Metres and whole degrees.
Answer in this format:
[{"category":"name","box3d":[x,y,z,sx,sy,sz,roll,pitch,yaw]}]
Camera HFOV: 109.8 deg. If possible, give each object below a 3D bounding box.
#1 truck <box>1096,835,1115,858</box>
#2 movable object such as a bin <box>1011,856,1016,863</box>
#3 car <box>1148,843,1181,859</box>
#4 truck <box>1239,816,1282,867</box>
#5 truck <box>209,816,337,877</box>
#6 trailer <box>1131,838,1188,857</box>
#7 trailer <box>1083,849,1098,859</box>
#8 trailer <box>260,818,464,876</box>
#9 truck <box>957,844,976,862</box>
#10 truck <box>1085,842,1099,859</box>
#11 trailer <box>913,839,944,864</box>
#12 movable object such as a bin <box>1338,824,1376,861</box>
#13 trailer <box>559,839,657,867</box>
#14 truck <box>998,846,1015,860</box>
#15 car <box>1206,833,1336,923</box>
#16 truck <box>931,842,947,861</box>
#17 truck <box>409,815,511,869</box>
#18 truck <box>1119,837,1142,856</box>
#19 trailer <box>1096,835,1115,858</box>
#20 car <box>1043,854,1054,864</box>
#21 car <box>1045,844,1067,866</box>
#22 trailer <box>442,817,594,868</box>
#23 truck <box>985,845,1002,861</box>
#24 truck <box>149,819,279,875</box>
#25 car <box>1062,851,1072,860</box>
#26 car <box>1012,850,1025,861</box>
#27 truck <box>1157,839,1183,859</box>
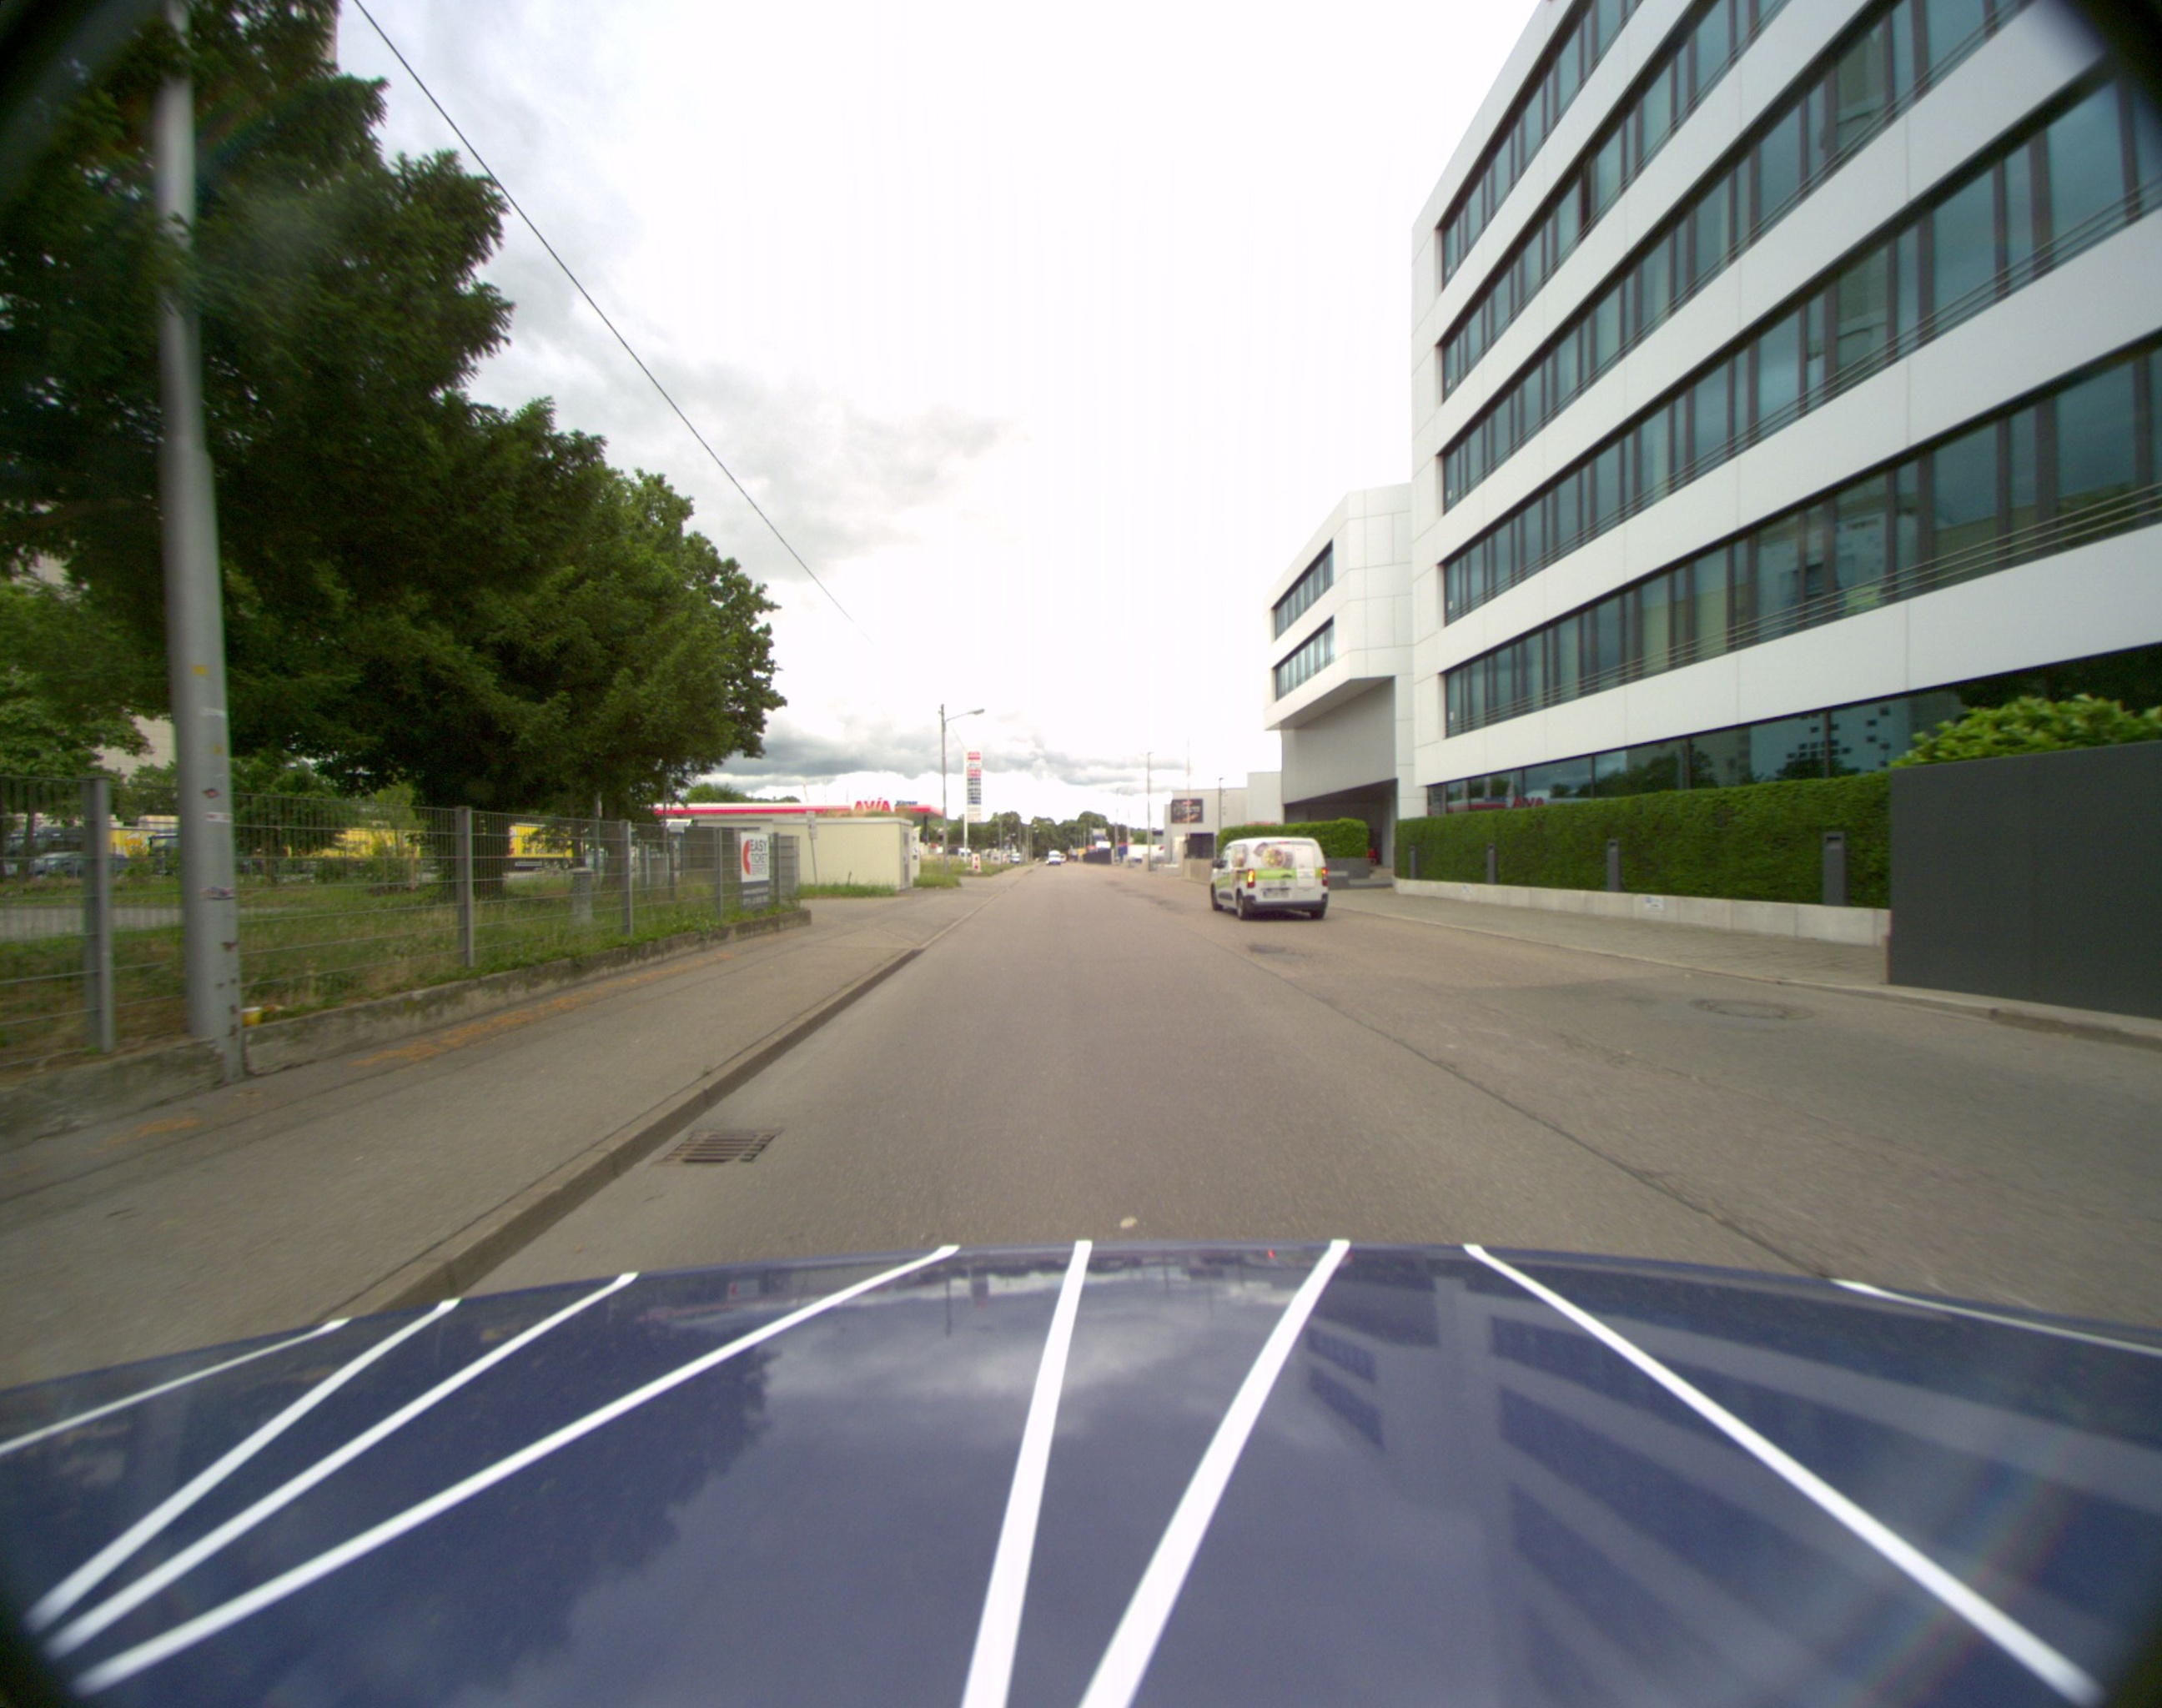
[{"category":"truck","box3d":[4.541,-1.339,139.543,3.367,4.136,5.627,1,0,2]},{"category":"movable object such as a bin","box3d":[-10.057,0.812,112.944,0.717,1.075,0.662,-1,0,-9]},{"category":"car","box3d":[14.956,-0.549,136.229,5.423,2.714,2.244,-2,0,17]},{"category":"truck","box3d":[15.006,-0.976,63.136,2.745,4.007,7.102,-1,0,19]},{"category":"truck","box3d":[-59.281,-0.500,55.977,3.052,4.237,6.039,0,0,-3]},{"category":"trailer","box3d":[17.474,-1.458,168.887,12.022,4.108,3.052,1,0,16]},{"category":"trailer","box3d":[2.277,-0.083,181.193,3.046,2.179,12.045,1,0,-2]},{"category":"trailer","box3d":[-59.703,-0.537,64.225,3.028,4.236,15.720,0,0,-3]},{"category":"truck","box3d":[-26.861,-0.254,177.717,2.878,4.071,6.744,0,0,-22]},{"category":"truck","box3d":[2.478,-0.886,175.374,3.022,3.827,5.669,1,0,-2]},{"category":"trailer","box3d":[-25.550,-0.449,128.136,2.964,3.944,10.405,1,0,1]},{"category":"movable object such as a bin","box3d":[16.948,-0.700,46.653,2.149,2.210,1.755,0,1,21]},{"category":"trailer","box3d":[-74.636,-0.016,119.715,18.454,4.148,3.649,-1,0,25]},{"category":"truck","box3d":[-18.758,-0.264,191.465,2.877,3.609,6.747,0,0,-17]},{"category":"car","box3d":[4.190,0.467,17.471,1.812,1.754,4.204,-2,0,-1]},{"category":"truck","box3d":[-31.243,-0.505,166.611,2.876,4.071,6.747,0,0,-16]},{"category":"truck","box3d":[-47.106,-0.844,57.882,2.965,3.892,6.039,0,0,-3]},{"category":"truck","box3d":[11.078,-1.587,170.027,4.879,4.108,3.048,1,0,-1]},{"category":"trailer","box3d":[4.752,-1.332,146.609,3.367,4.136,13.849,1,0,2]},{"category":"car","box3d":[-6.357,0.968,147.971,1.713,2.002,3.887,-1,0,-7]},{"category":"car","box3d":[-4.427,0.209,132.438,3.340,3.586,8.666,-1,0,-5]},{"category":"trailer","box3d":[-47.493,-0.859,65.093,3.008,3.892,14.297,0,0,-3]},{"category":"truck","box3d":[-21.564,-0.219,187.165,2.877,3.990,6.747,0,0,-17]},{"category":"truck","box3d":[-63.148,-0.496,55.583,2.698,3.892,6.039,0,0,-3]},{"category":"car","box3d":[-3.848,0.435,206.968,1.998,2.402,5.258,-2,0,5]},{"category":"car","box3d":[-13.265,0.304,161.398,2.091,2.401,6.083,-1,0,0]},{"category":"truck","box3d":[19.159,-0.976,163.063,4.870,4.180,3.053,1,0,20]}]
